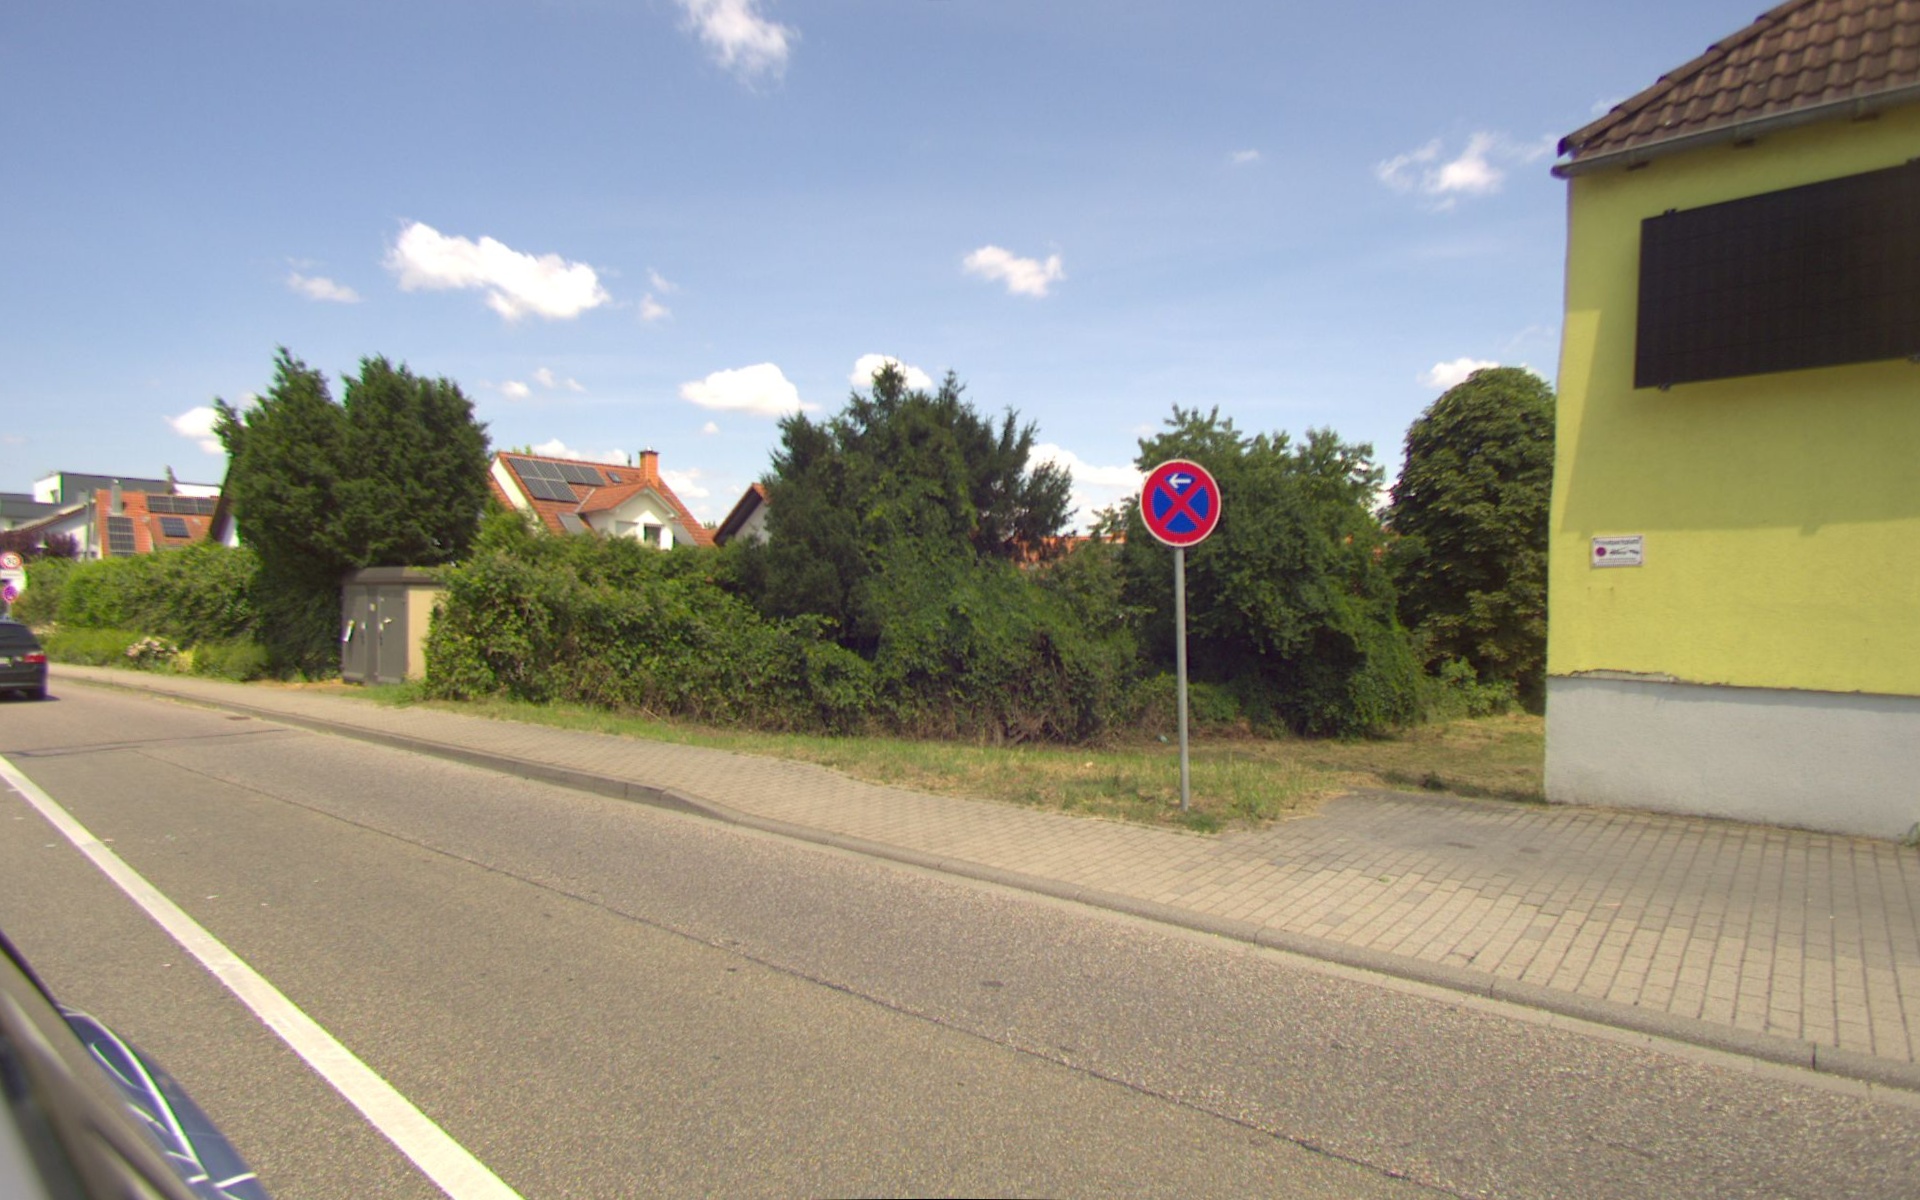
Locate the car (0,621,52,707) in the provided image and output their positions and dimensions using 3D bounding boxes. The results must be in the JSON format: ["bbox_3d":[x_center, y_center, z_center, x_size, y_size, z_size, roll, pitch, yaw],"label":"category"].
[{"bbox_3d":[-18.342,1.111,18.562,4.667,1.453,1.844,-1,-2,40],"label":"car"}]
